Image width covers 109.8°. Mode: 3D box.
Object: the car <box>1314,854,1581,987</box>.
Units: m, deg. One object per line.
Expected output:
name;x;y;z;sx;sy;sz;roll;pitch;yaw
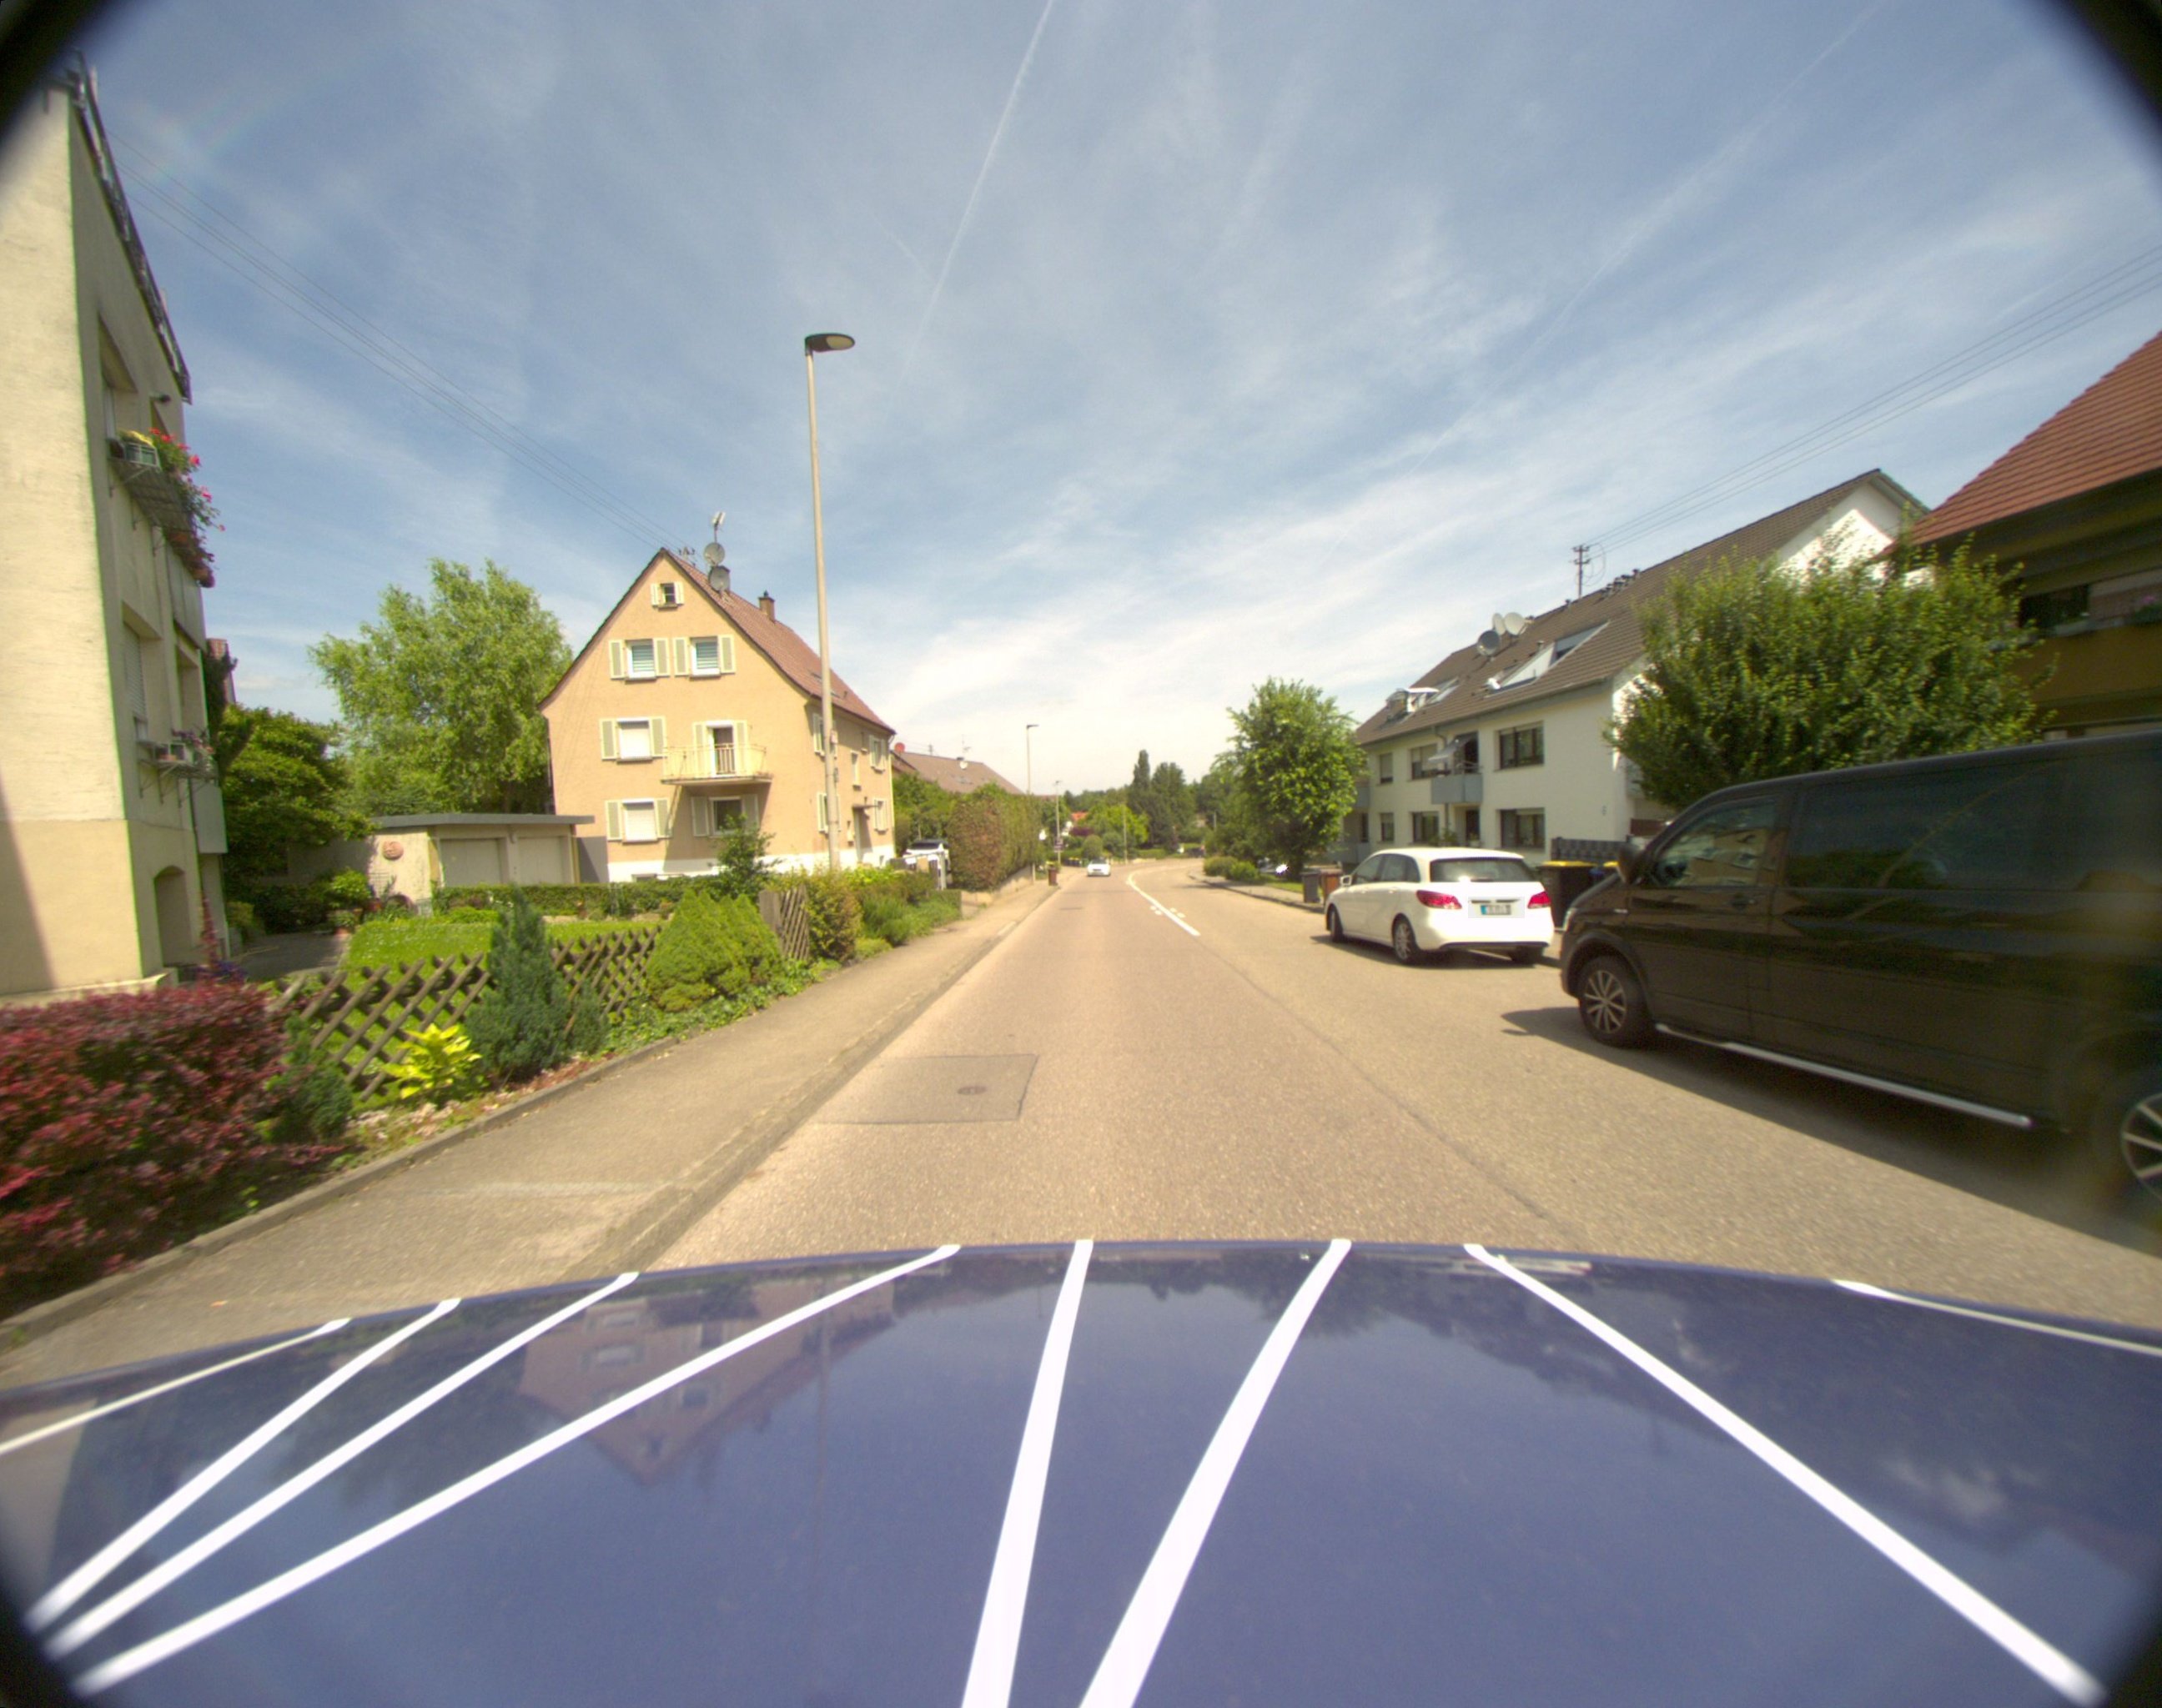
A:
car;5.067;0.802;11.274;1.816;1.540;4.242;-2;0;-1

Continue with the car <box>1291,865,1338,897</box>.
car;13.362;1.513;43.723;1.475;1.532;3.230;-1;3;-5

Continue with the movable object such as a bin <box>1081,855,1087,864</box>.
movable object such as a bin;0.333;0.642;91.364;0.485;1.064;0.565;-1;1;22

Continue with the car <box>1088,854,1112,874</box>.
car;1.565;0.804;63.944;1.826;1.543;3.999;-1;0;-1

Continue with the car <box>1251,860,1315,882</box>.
car;13.904;1.190;52.405;3.966;1.240;1.646;3;1;1

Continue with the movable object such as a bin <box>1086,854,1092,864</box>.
movable object such as a bin;0.964;0.616;91.171;0.485;1.101;0.565;-1;1;15

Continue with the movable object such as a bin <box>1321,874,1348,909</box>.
movable object such as a bin;6.924;1.008;20.747;0.564;0.912;0.643;-1;1;8

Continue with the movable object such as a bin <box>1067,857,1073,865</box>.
movable object such as a bin;-1.336;0.848;92.040;0.449;0.950;0.516;-1;1;19

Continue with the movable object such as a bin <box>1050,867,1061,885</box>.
movable object such as a bin;-1.417;1.214;41.917;0.589;0.972;0.786;0;1;1

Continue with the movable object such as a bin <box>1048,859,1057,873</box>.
movable object such as a bin;-2.176;0.953;58.552;0.589;1.053;0.920;-1;1;4

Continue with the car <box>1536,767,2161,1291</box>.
car;4.854;0.631;4.014;1.901;1.909;4.869;-1;0;-1

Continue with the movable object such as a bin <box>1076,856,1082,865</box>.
movable object such as a bin;-0.201;0.742;91.609;0.484;1.016;0.565;2;2;22

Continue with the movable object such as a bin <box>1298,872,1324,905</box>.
movable object such as a bin;6.611;0.977;21.871;0.620;0.912;0.686;-1;1;8

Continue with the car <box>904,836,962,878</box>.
car;-6.048;0.072;31.408;1.609;1.474;3.557;-2;4;1

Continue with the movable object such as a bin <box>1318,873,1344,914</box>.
movable object such as a bin;6.353;1.000;19.337;0.507;0.982;0.563;-2;1;8

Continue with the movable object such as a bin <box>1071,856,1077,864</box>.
movable object such as a bin;-0.807;0.737;91.829;0.484;1.016;0.565;2;2;22
